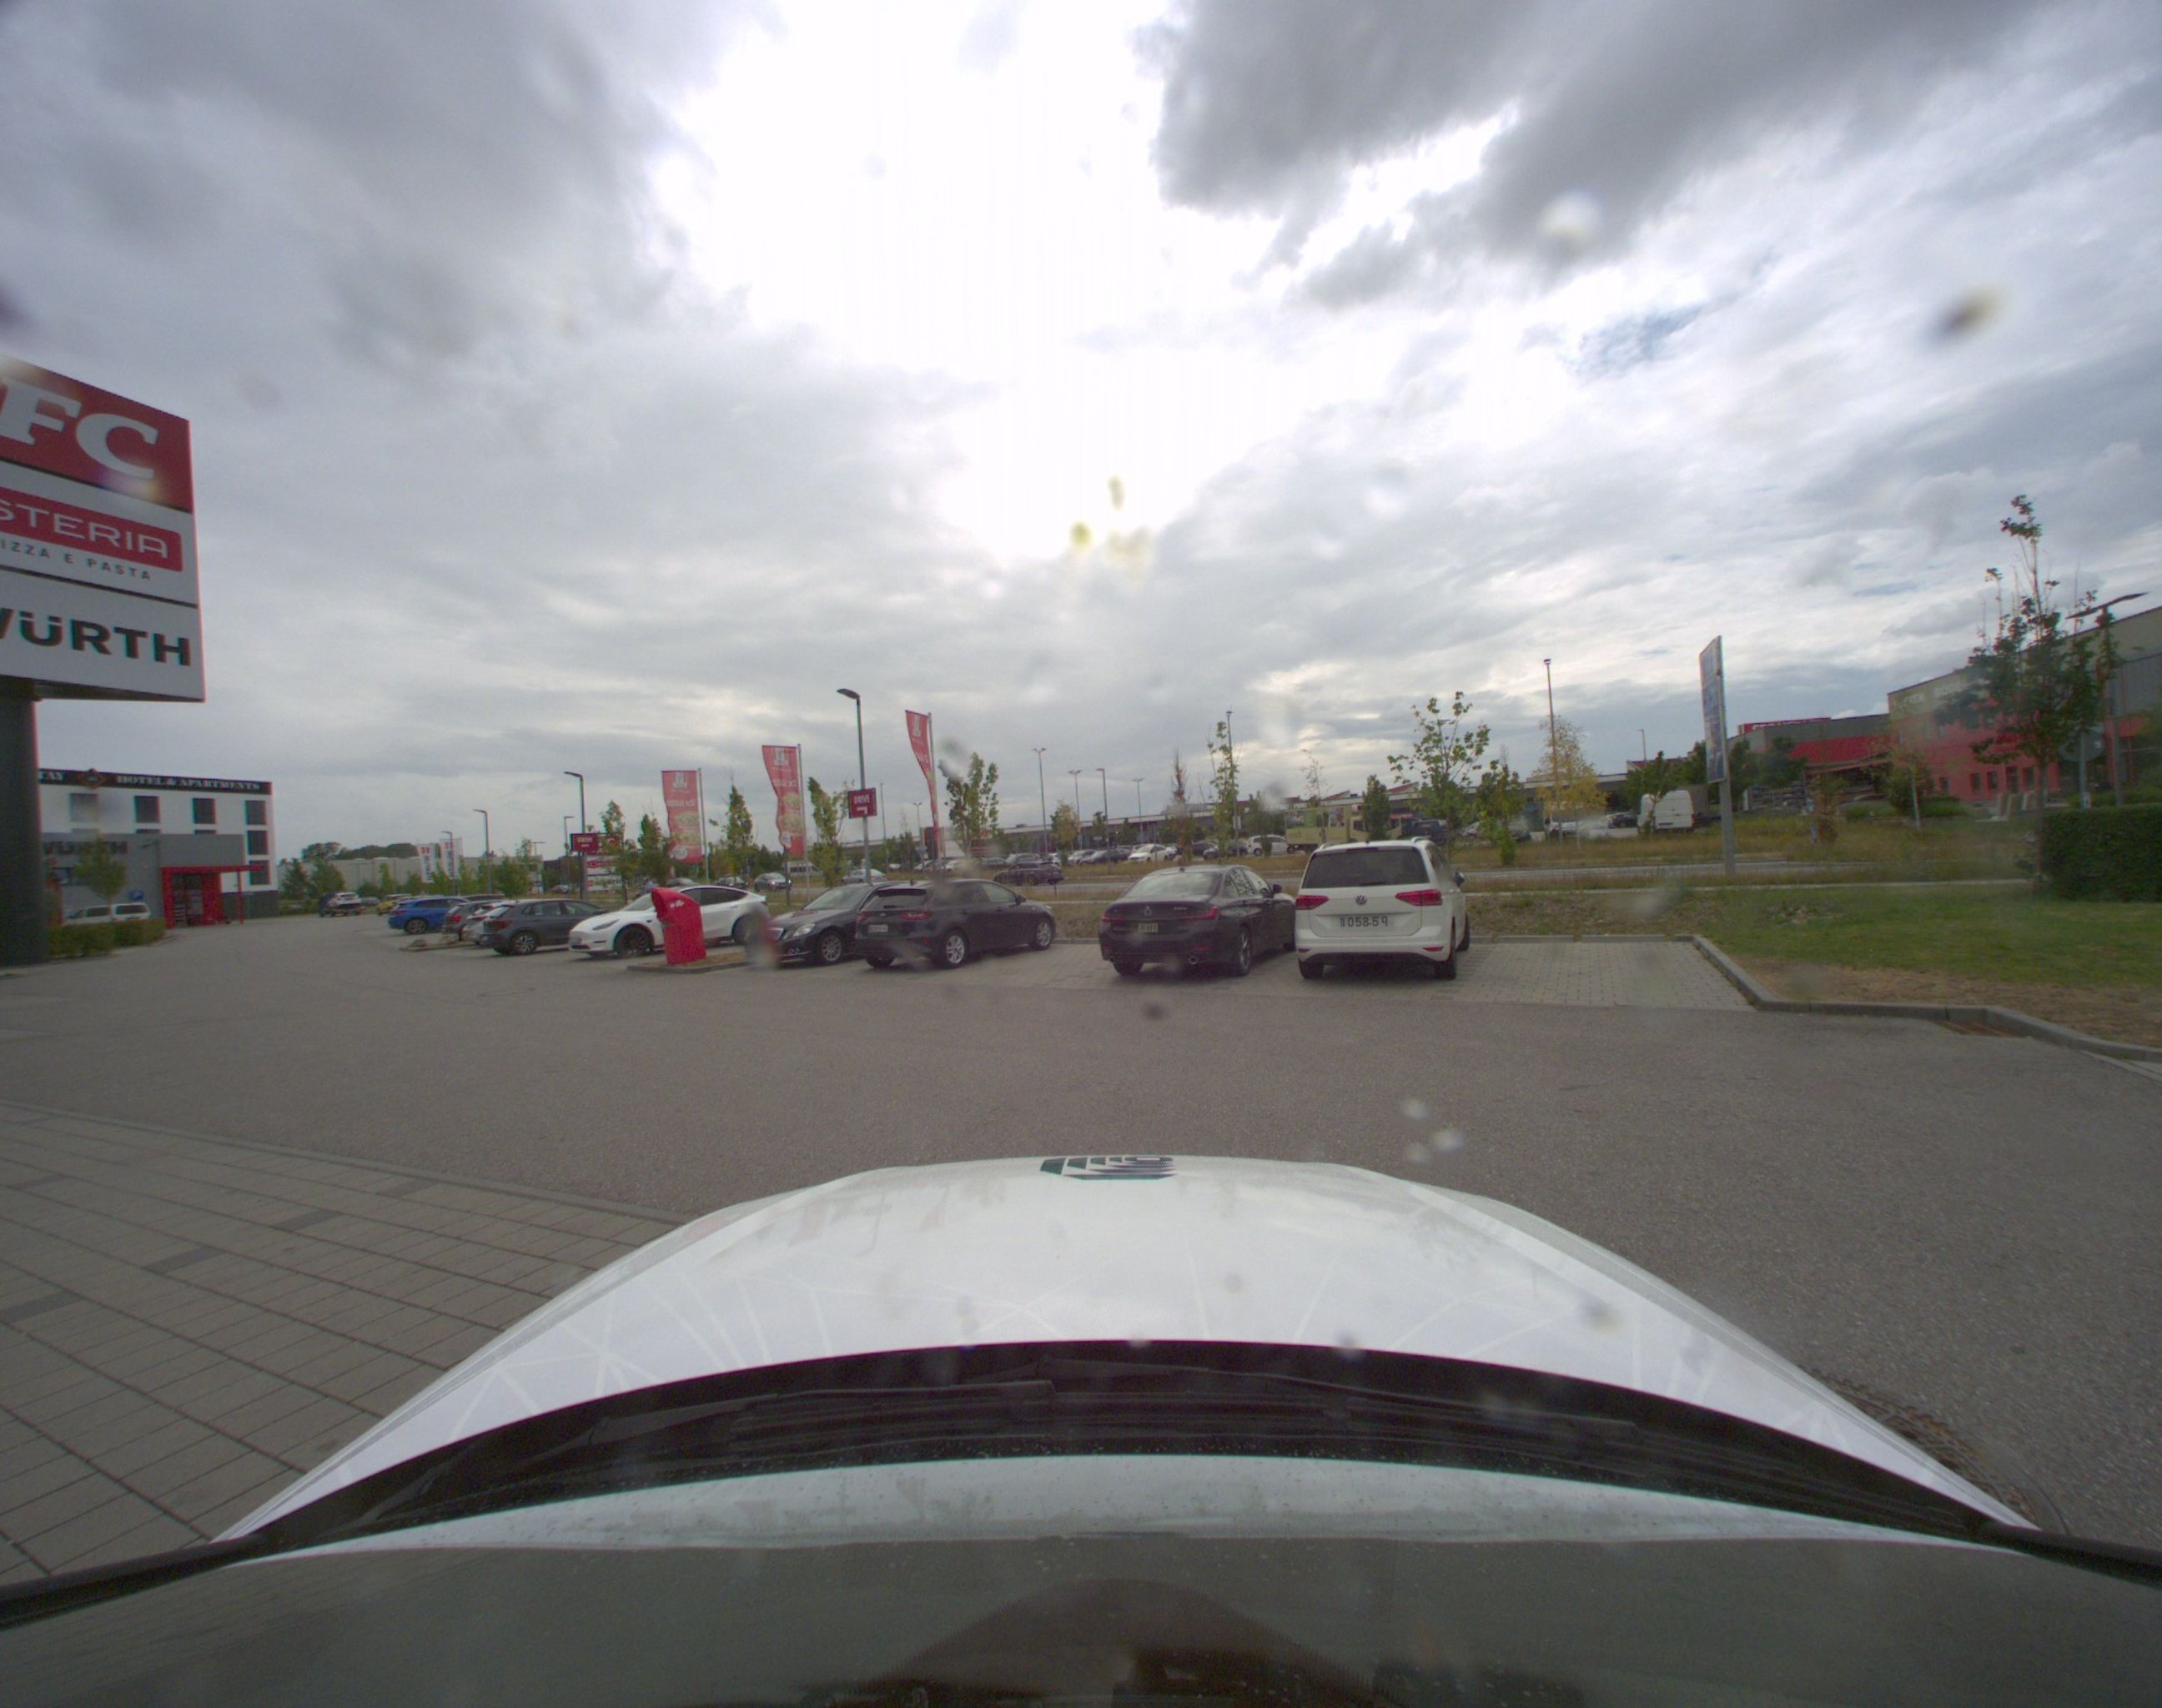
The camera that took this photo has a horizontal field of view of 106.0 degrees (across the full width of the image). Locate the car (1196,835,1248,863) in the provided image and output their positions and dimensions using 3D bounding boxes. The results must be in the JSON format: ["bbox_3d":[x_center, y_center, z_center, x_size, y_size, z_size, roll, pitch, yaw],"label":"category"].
[{"bbox_3d":[10.767,-0.383,61.932,1.906,1.771,4.349,-4,1,39],"label":"car"}]

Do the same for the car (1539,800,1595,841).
[{"bbox_3d":[29.444,-2.098,49.546,2.386,2.214,6.097,-3,2,27],"label":"car"}]

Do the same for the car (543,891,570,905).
[{"bbox_3d":[-58.302,4.924,90.575,3.122,1.336,1.476,-3,0,37],"label":"car"}]

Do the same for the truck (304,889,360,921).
[{"bbox_3d":[-70.890,4.875,77.029,7.793,2.406,2.354,-7,-3,36],"label":"truck"}]

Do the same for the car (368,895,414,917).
[{"bbox_3d":[-57.464,4.327,67.796,3.948,1.650,1.874,-4,-2,33],"label":"car"}]

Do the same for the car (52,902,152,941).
[{"bbox_3d":[-62.102,4.289,51.699,4.023,1.854,2.069,-5,5,10],"label":"car"}]

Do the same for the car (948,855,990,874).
[{"bbox_3d":[-11.551,1.082,84.180,1.974,1.539,4.082,-4,1,37],"label":"car"}]

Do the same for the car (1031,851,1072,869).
[{"bbox_3d":[-3.431,0.698,93.659,4.133,1.837,2.013,-4,1,29],"label":"car"}]

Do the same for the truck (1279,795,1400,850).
[{"bbox_3d":[17.868,-2.092,56.945,3.035,3.195,8.361,-5,1,-25],"label":"truck"}]

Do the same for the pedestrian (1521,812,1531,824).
[{"bbox_3d":[56.074,-4.499,102.687,0.651,1.429,0.796,-5,1,-10],"label":"pedestrian"}]

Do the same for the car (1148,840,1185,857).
[{"bbox_3d":[11.037,-0.716,105.192,4.133,1.837,2.013,-4,1,29],"label":"car"}]

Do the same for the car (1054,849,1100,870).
[{"bbox_3d":[-0.350,0.462,72.384,1.749,1.539,4.081,-4,1,39],"label":"car"}]

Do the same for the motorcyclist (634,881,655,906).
[{"bbox_3d":[-28.328,2.565,52.852,0.820,1.488,0.947,-4,0,44],"label":"motorcyclist"}]

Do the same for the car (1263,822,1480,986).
[{"bbox_3d":[4.081,0.570,10.897,1.967,1.713,4.399,-3,-2,29],"label":"car"}]

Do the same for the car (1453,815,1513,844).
[{"bbox_3d":[32.087,-1.981,65.106,3.954,2.013,2.010,-4,1,19],"label":"car"}]

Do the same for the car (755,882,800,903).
[{"bbox_3d":[-24.237,3.048,64.970,1.841,1.459,3.951,-6,2,-44],"label":"car"}]

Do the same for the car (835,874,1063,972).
[{"bbox_3d":[-2.191,1.140,14.672,1.864,1.412,4.095,-3,-2,29],"label":"car"}]

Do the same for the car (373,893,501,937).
[{"bbox_3d":[-28.529,2.664,36.168,4.241,1.544,1.841,-3,0,-44],"label":"car"}]

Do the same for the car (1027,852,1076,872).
[{"bbox_3d":[-2.698,0.748,75.848,4.183,1.539,1.976,-6,1,-41],"label":"car"}]

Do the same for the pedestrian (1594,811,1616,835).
[{"bbox_3d":[32.704,-1.957,50.812,0.966,1.429,0.792,-4,1,24],"label":"pedestrian"}]

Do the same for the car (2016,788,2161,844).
[{"bbox_3d":[32.845,-1.230,25.427,4.364,1.486,1.943,-4,1,29],"label":"car"}]

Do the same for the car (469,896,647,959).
[{"bbox_3d":[-14.610,2.010,22.918,1.716,1.412,3.832,-4,-2,37],"label":"car"}]

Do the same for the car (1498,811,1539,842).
[{"bbox_3d":[26.967,-1.745,50.340,2.051,1.638,5.102,-3,2,27],"label":"car"}]

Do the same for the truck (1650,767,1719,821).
[{"bbox_3d":[47.056,-4.639,63.776,2.623,3.742,8.306,-4,1,26],"label":"truck"}]

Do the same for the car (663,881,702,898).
[{"bbox_3d":[-38.241,3.404,78.121,4.164,1.394,1.780,-4,0,41],"label":"car"}]

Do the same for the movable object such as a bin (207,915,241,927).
[{"bbox_3d":[-64.896,5.067,61.696,0.953,0.704,1.501,-4,-1,22],"label":"movable object such as a bin"}]

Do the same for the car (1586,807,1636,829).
[{"bbox_3d":[52.473,-3.599,80.655,3.949,1.837,2.013,-4,1,29],"label":"car"}]

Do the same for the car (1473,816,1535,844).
[{"bbox_3d":[31.446,-1.776,60.632,3.950,1.738,1.903,-4,1,26],"label":"car"}]

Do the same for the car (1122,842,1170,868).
[{"bbox_3d":[5.387,0.093,66.958,1.974,1.771,4.349,-4,1,32],"label":"car"}]

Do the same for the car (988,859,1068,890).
[{"bbox_3d":[-3.214,1.222,48.637,4.792,1.551,1.814,-4,1,41],"label":"car"}]

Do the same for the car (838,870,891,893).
[{"bbox_3d":[-16.582,2.102,62.250,1.812,1.551,4.796,-6,1,-42],"label":"car"}]

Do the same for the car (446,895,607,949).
[{"bbox_3d":[-17.956,2.156,26.507,1.816,1.412,3.964,-4,-2,41],"label":"car"}]

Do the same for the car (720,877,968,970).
[{"bbox_3d":[-4.540,1.294,16.416,1.887,1.456,4.772,-3,-2,30],"label":"car"}]

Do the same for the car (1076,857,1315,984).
[{"bbox_3d":[1.911,0.838,12.020,1.922,1.466,4.544,-3,-2,29],"label":"car"}]

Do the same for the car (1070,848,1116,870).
[{"bbox_3d":[1.049,0.388,70.500,1.749,1.539,4.081,-4,1,39],"label":"car"}]

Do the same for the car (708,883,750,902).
[{"bbox_3d":[-31.162,3.408,71.971,4.230,1.499,1.868,-4,0,44],"label":"car"}]

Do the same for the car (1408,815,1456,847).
[{"bbox_3d":[23.088,-1.517,53.425,2.051,1.884,5.103,-3,0,32],"label":"car"}]

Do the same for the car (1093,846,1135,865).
[{"bbox_3d":[3.679,0.182,90.582,4.133,1.837,2.013,-4,1,29],"label":"car"}]

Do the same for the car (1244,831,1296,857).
[{"bbox_3d":[15.506,-0.801,66.778,3.957,1.771,2.009,-4,1,16],"label":"car"}]

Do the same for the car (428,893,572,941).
[{"bbox_3d":[-21.220,2.252,29.851,1.706,1.428,4.024,-4,-1,43],"label":"car"}]

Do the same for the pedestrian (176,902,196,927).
[{"bbox_3d":[-67.502,4.561,61.415,0.870,1.802,0.682,-4,-1,22],"label":"pedestrian"}]

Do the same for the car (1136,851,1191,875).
[{"bbox_3d":[7.250,0.821,71.941,4.265,1.771,1.934,-4,1,33],"label":"car"}]

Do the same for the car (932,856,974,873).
[{"bbox_3d":[-13.599,1.114,86.804,1.841,1.501,4.100,-4,1,40],"label":"car"}]

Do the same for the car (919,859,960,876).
[{"bbox_3d":[-15.381,1.461,88.745,1.883,1.539,4.082,-4,1,37],"label":"car"}]

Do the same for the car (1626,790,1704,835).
[{"bbox_3d":[33.594,-2.394,47.072,2.316,2.267,6.545,-4,1,25],"label":"car"}]

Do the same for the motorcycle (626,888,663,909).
[{"bbox_3d":[-28.317,2.876,52.849,0.785,1.208,1.933,-4,0,44],"label":"motorcycle"}]

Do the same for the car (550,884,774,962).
[{"bbox_3d":[-10.298,1.634,20.353,1.900,1.541,4.575,-4,-2,35],"label":"car"}]
